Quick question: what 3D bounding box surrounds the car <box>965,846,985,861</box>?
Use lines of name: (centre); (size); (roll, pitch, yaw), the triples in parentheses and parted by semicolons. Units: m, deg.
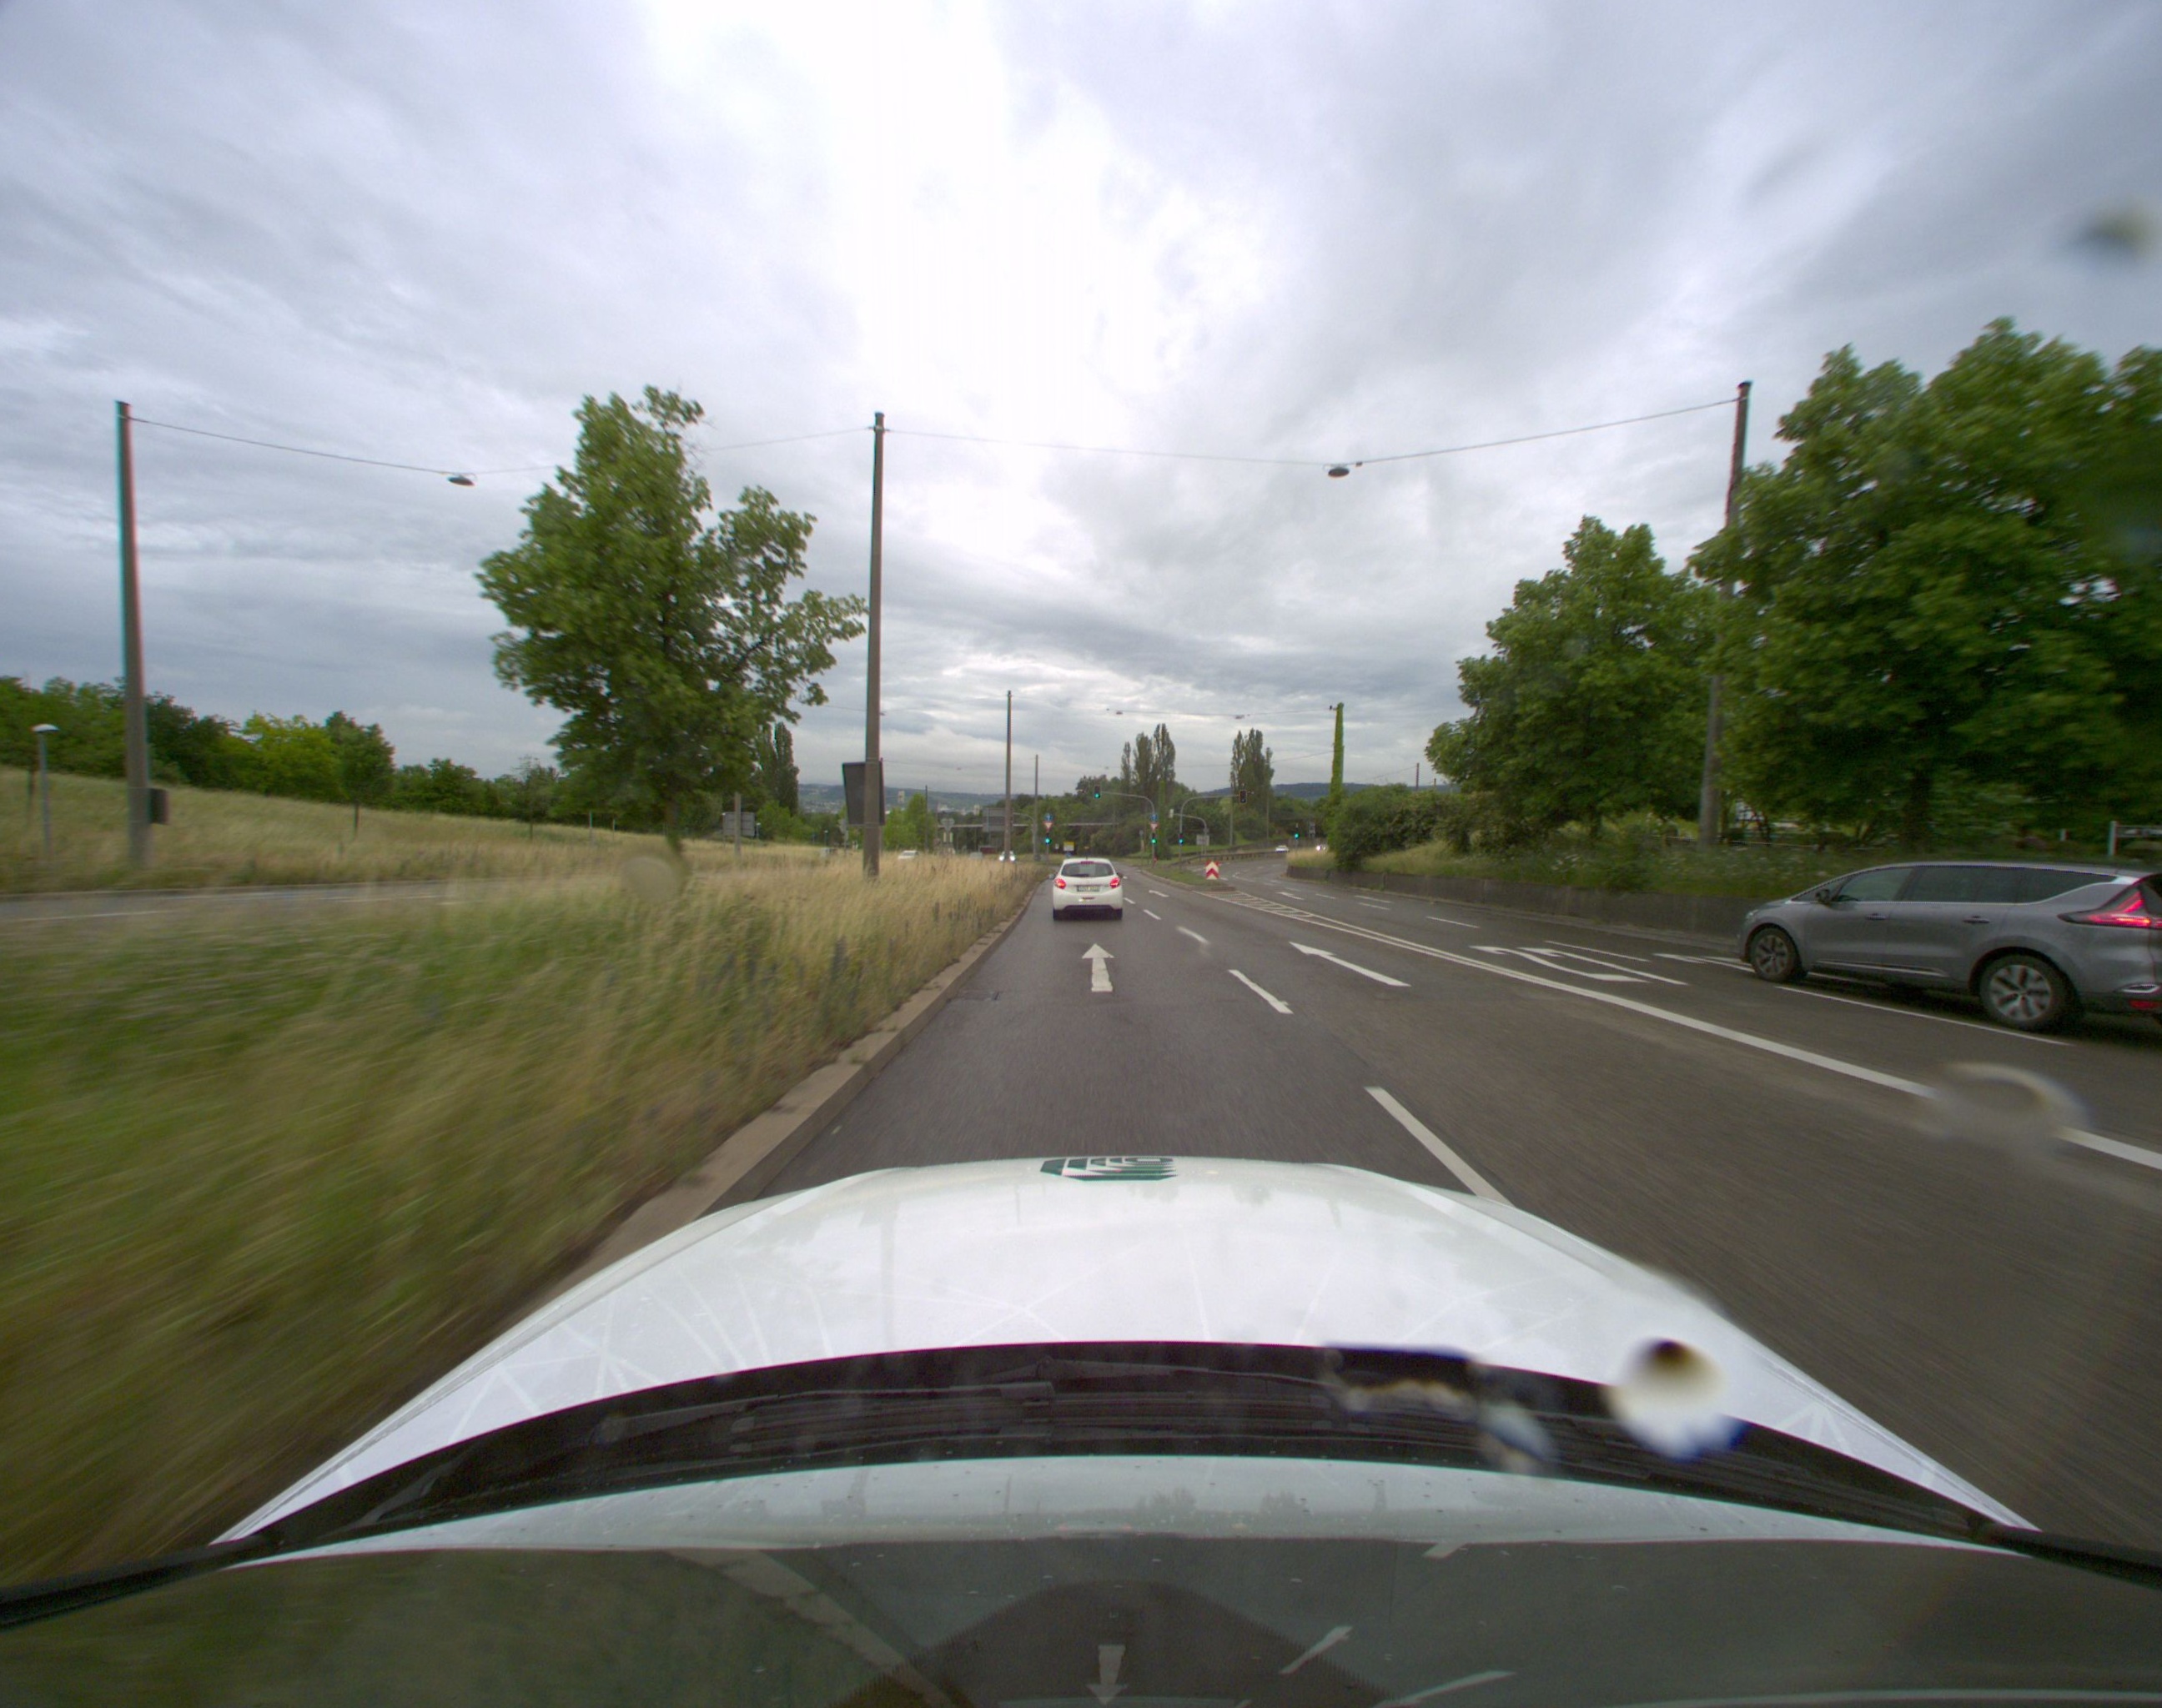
car: (-11.722, -0.017, 90.047); (1.891, 1.537, 3.995); (0, -1, -3)

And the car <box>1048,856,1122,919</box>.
car: (0.159, 0.789, 20.715); (1.702, 1.440, 3.692); (-1, -1, 2)

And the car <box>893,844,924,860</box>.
car: (-17.775, -0.188, 84.076); (1.878, 1.611, 4.679); (1, -1, 3)

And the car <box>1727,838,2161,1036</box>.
car: (9.850, 0.794, 9.103); (1.718, 1.649, 4.627); (2, -2, 2)

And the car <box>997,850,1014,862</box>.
car: (-8.582, 0.245, 92.555); (1.734, 1.373, 3.995); (0, -1, -3)
